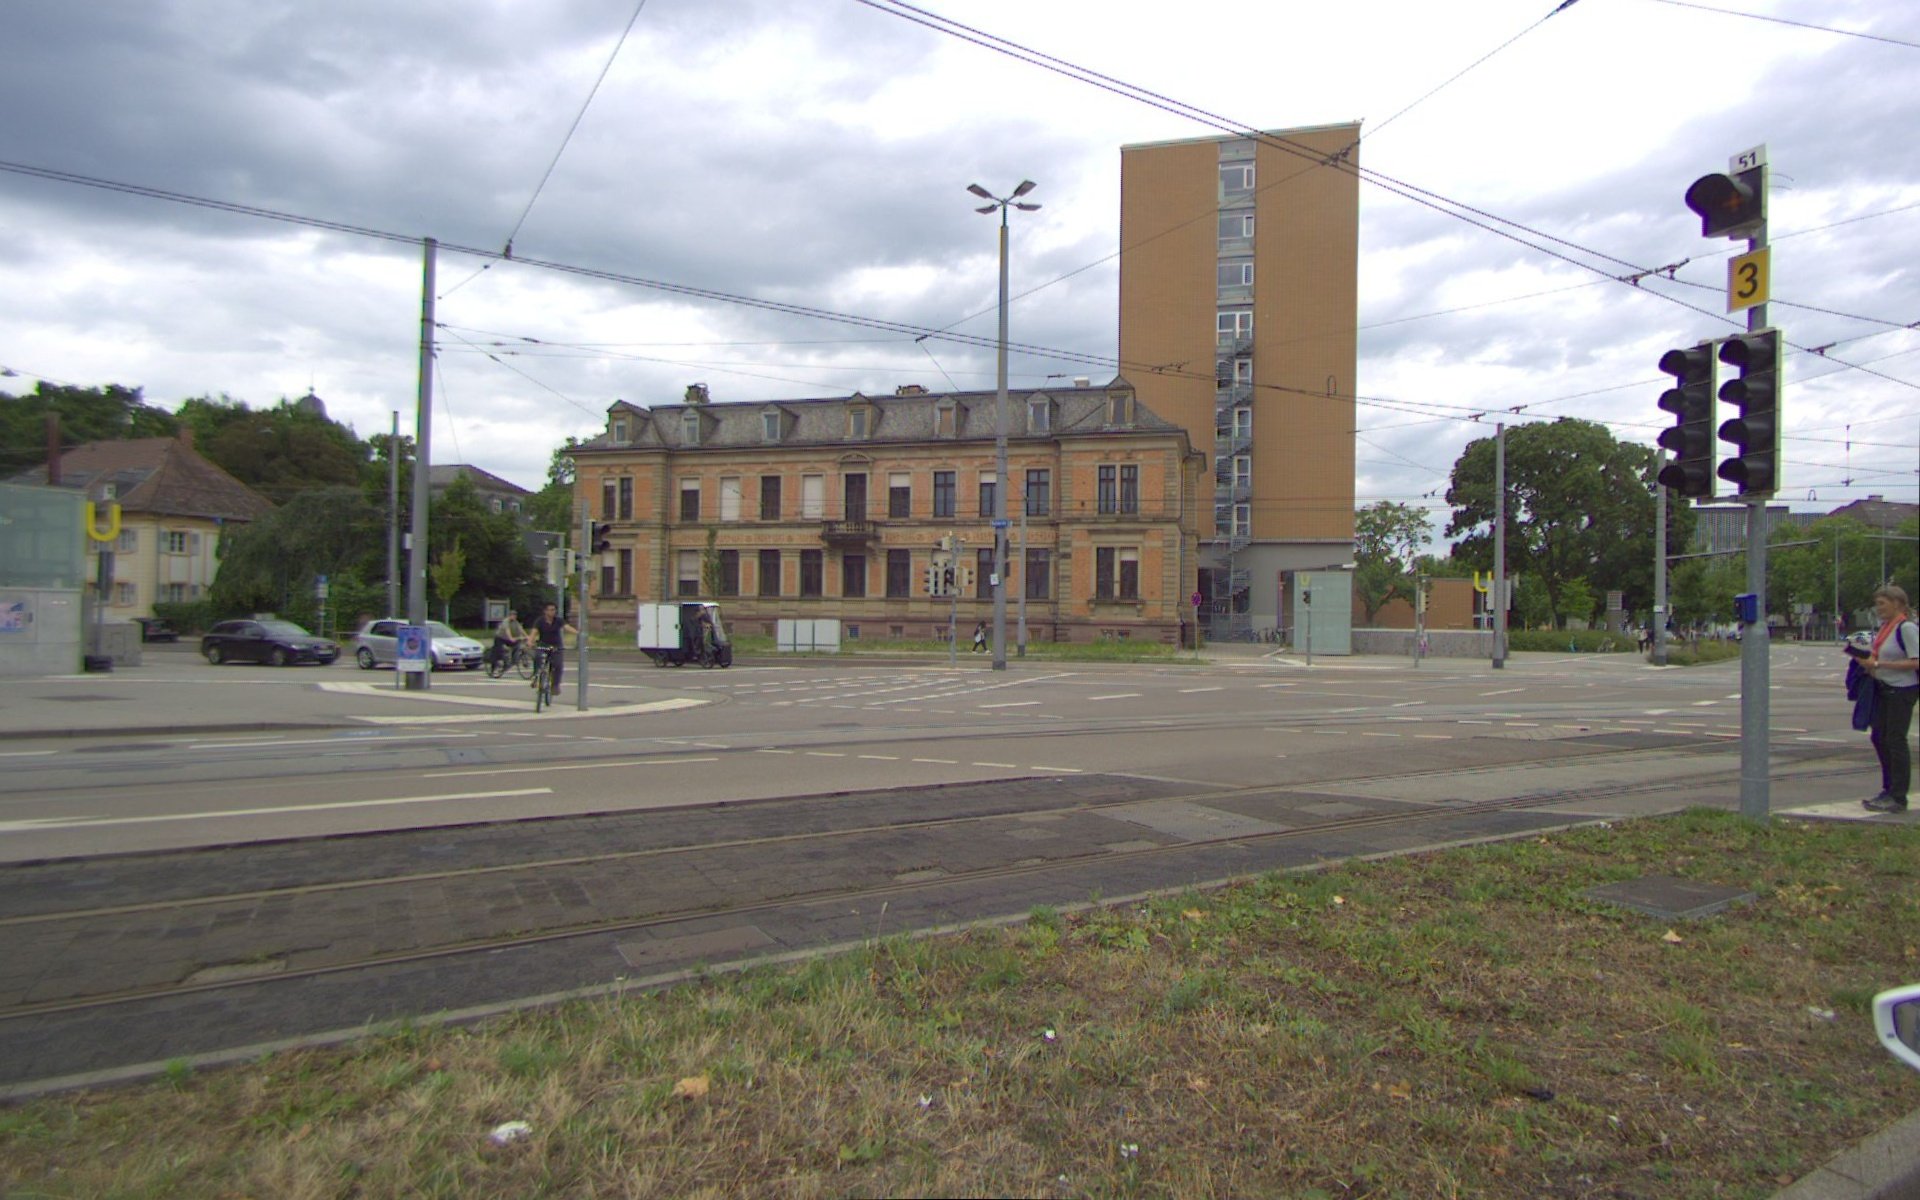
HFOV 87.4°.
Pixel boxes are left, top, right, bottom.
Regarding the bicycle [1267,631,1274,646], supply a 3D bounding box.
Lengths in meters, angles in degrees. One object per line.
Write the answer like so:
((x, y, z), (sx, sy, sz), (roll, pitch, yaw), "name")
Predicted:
((22.821, 2.817, 73.766), (0.500, 1.063, 1.428), (1, -1, 18), "bicycle")

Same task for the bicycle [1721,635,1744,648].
((72.796, 3.865, 94.614), (2.701, 1.194, 0.934), (1, -1, -34), "bicycle")

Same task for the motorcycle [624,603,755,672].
((-8.482, 1.135, 31.569), (3.614, 2.040, 1.696), (1, -1, 19), "motorcycle")

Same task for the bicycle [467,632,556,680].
((-11.867, 1.466, 26.598), (2.154, 1.224, 0.857), (0, -2, 20), "bicycle")

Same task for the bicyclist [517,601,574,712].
((-7.086, 0.938, 17.158), (0.805, 1.822, 1.022), (0, 0, -28), "bicyclist")

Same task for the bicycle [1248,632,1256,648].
((21.554, 2.932, 74.131), (0.561, 1.120, 1.428), (1, -1, 18), "bicycle")

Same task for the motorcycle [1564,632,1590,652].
((41.581, 2.810, 67.712), (1.443, 1.285, 0.512), (1, -1, 14), "motorcycle")

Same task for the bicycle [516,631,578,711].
((-7.055, 1.169, 17.088), (0.805, 1.259, 1.986), (0, -2, -27), "bicycle")

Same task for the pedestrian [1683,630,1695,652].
((67.611, 3.817, 93.165), (0.868, 2.007, 0.792), (0, -2, 42), "pedestrian")

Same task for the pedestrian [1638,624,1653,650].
((52.760, 2.835, 77.305), (0.781, 2.007, 0.880), (1, -2, 26), "pedestrian")

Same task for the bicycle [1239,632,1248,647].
((20.991, 2.914, 74.301), (0.561, 1.120, 1.428), (1, -1, 18), "bicycle")

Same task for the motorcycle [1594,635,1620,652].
((43.684, 2.952, 67.838), (1.716, 1.126, 0.510), (1, -1, -17), "motorcycle")

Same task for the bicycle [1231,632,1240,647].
((20.427, 2.912, 74.475), (0.561, 1.120, 1.428), (1, -1, 18), "bicycle")

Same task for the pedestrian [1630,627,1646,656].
((47.259, 2.877, 69.970), (0.781, 2.007, 0.880), (1, -2, 26), "pedestrian")

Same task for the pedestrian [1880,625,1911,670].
((42.971, 2.174, 46.134), (1.009, 2.040, 0.842), (0, -1, 41), "pedestrian")

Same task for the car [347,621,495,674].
((-16.246, 1.382, 30.258), (4.081, 1.473, 1.761), (0, -1, 23), "car")

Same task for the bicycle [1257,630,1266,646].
((22.197, 2.808, 73.965), (0.561, 1.120, 1.428), (1, -1, 18), "bicycle")

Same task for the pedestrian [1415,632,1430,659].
((23.245, 2.293, 50.448), (0.562, 1.353, 0.499), (1, -1, 10), "pedestrian")

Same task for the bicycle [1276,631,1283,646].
((23.395, 2.803, 73.642), (0.472, 1.063, 1.428), (1, -1, 18), "bicycle")

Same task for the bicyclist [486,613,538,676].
((-11.857, 1.166, 26.605), (0.899, 1.644, 0.855), (0, -1, 20), "bicyclist")

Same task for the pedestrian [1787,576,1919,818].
((7.783, 0.787, 8.421), (1.082, 1.932, 0.736), (1, 0, 18), "pedestrian")

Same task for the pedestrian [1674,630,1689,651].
((68.022, 3.812, 94.689), (0.786, 2.007, 0.875), (2, -2, -27), "pedestrian")

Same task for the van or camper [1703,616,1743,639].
((108.256, 3.847, 142.512), (2.347, 3.165, 5.507), (1, -1, 12), "van or camper")

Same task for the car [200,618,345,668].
((-22.044, 1.353, 32.228), (4.061, 1.468, 1.697), (1, -1, 18), "car")

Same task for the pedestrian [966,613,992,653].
((0.882, 1.533, 46.866), (1.104, 1.786, 0.759), (1, -1, 8), "pedestrian")

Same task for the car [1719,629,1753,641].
((95.293, 4.274, 123.376), (1.746, 1.483, 4.002), (1, -1, 14), "car")

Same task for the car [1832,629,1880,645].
((101.596, 4.169, 113.969), (1.683, 1.795, 3.998), (1, -1, -4), "car")

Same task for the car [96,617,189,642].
((-45.034, 1.597, 55.354), (3.919, 1.305, 1.936), (1, -1, 12), "car")
